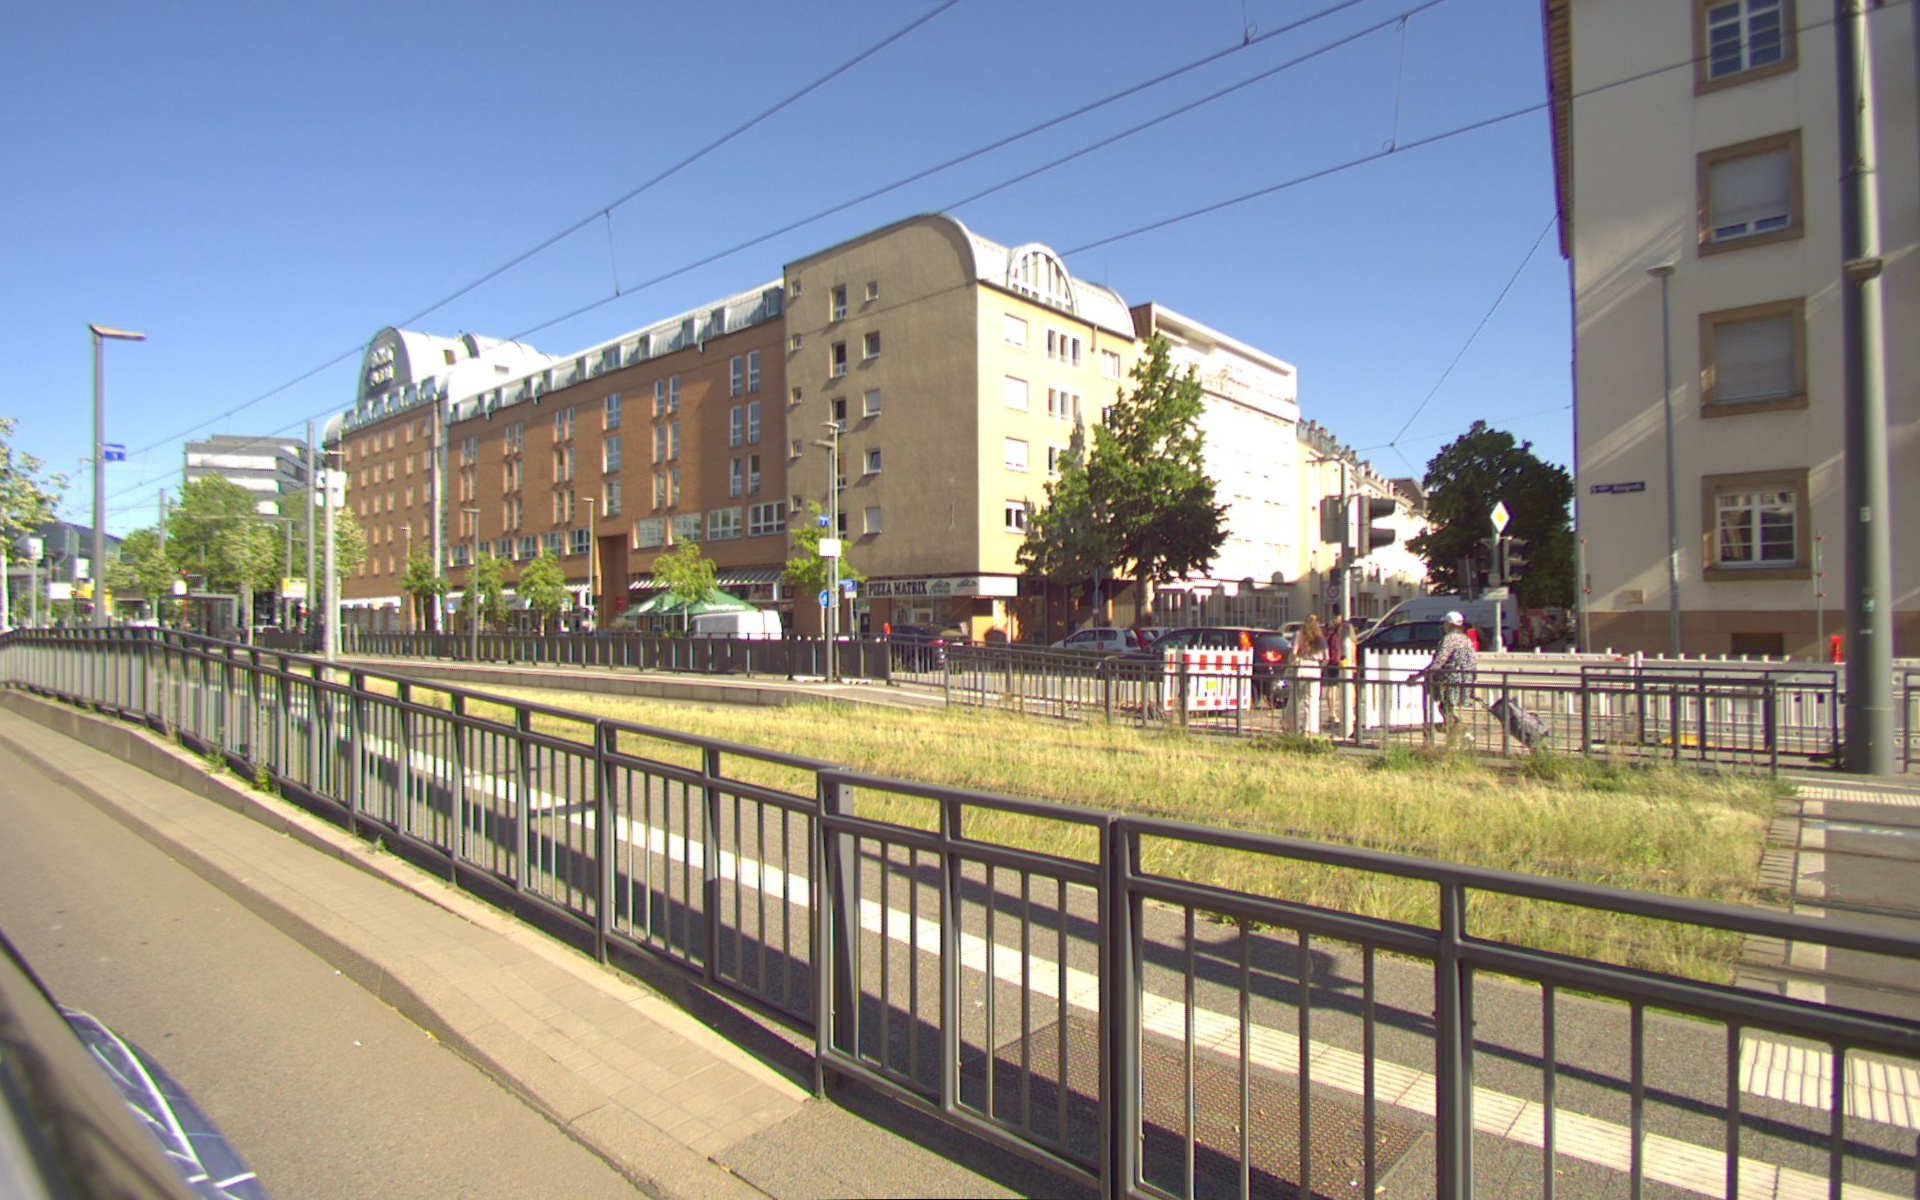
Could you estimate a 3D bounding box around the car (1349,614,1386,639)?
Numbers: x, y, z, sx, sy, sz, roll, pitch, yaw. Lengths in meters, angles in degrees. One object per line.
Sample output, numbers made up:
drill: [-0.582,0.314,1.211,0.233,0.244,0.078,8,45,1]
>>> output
car: [28.247,1.836,70.129,1.947,1.674,3.962,-1,-2,28]

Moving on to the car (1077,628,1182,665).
car: [7.109,1.942,42.501,3.980,1.462,1.768,-1,-2,28]

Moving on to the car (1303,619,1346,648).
car: [22.221,2.016,61.571,1.947,1.674,3.962,-1,-2,28]

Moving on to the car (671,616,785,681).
car: [-9.316,1.859,40.211,1.969,2.388,5.653,0,-2,-41]

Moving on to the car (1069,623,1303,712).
car: [4.248,1.210,19.338,3.998,1.527,1.797,-2,-2,41]

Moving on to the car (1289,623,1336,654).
car: [20.144,2.178,57.730,1.947,1.674,3.962,-1,-2,28]

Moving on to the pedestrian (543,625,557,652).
pedestrian: [-28.247,2.672,69.724,0.644,1.854,0.614,-2,-2,39]

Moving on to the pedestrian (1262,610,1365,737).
pedestrian: [4.505,0.910,12.950,0.895,1.548,0.869,-1,-1,-9]

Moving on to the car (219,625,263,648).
car: [-57.851,2.945,81.431,3.998,1.696,1.973,-1,0,41]

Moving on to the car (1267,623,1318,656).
car: [17.722,2.077,53.841,1.947,1.674,3.962,-1,-2,28]

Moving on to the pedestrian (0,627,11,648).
pedestrian: [-72.719,2.888,77.014,0.599,1.581,0.730,0,-2,-29]

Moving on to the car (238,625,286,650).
car: [-51.163,2.734,74.153,3.998,1.696,1.973,-1,0,41]

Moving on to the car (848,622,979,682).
car: [-1.510,1.607,32.032,3.997,1.773,1.796,-2,-2,40]

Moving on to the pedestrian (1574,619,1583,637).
pedestrian: [64.178,2.910,104.999,0.687,1.768,0.807,-2,-2,34]

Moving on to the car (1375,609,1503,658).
car: [15.786,1.086,33.383,3.654,1.533,1.673,-1,-2,32]

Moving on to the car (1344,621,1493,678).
car: [12.988,1.376,28.726,3.662,1.533,1.673,-1,-2,32]

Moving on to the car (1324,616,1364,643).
car: [24.815,1.913,65.392,1.947,1.674,3.962,-1,-2,28]

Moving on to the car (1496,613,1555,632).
car: [44.324,1.756,79.469,3.853,1.472,1.740,-1,-2,24]

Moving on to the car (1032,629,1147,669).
car: [4.929,1.844,38.591,3.980,1.462,1.768,-1,-2,28]

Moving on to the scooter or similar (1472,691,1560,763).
scooter or similar: [5.869,1.326,10.681,0.709,0.656,0.509,-2,-1,41]

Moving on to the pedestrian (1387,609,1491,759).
pedestrian: [5.249,0.887,11.083,0.815,1.548,0.787,-2,-1,41]

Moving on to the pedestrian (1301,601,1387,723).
pedestrian: [5.878,0.920,15.514,0.854,1.794,0.910,0,-1,-42]

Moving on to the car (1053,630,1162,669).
car: [5.898,1.960,40.443,3.980,1.462,1.768,-1,-2,28]

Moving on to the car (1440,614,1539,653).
car: [25.219,1.572,48.201,3.990,1.789,1.722,-1,-2,35]

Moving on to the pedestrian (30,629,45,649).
pedestrian: [-72.818,3.049,79.869,0.599,1.581,0.730,-1,-1,-17]

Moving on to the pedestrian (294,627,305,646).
pedestrian: [-64.797,3.575,99.253,0.779,1.769,0.707,-2,-2,41]

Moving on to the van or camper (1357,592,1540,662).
van or camper: [17.996,1.012,37.399,5.933,2.419,1.979,-1,-2,30]
